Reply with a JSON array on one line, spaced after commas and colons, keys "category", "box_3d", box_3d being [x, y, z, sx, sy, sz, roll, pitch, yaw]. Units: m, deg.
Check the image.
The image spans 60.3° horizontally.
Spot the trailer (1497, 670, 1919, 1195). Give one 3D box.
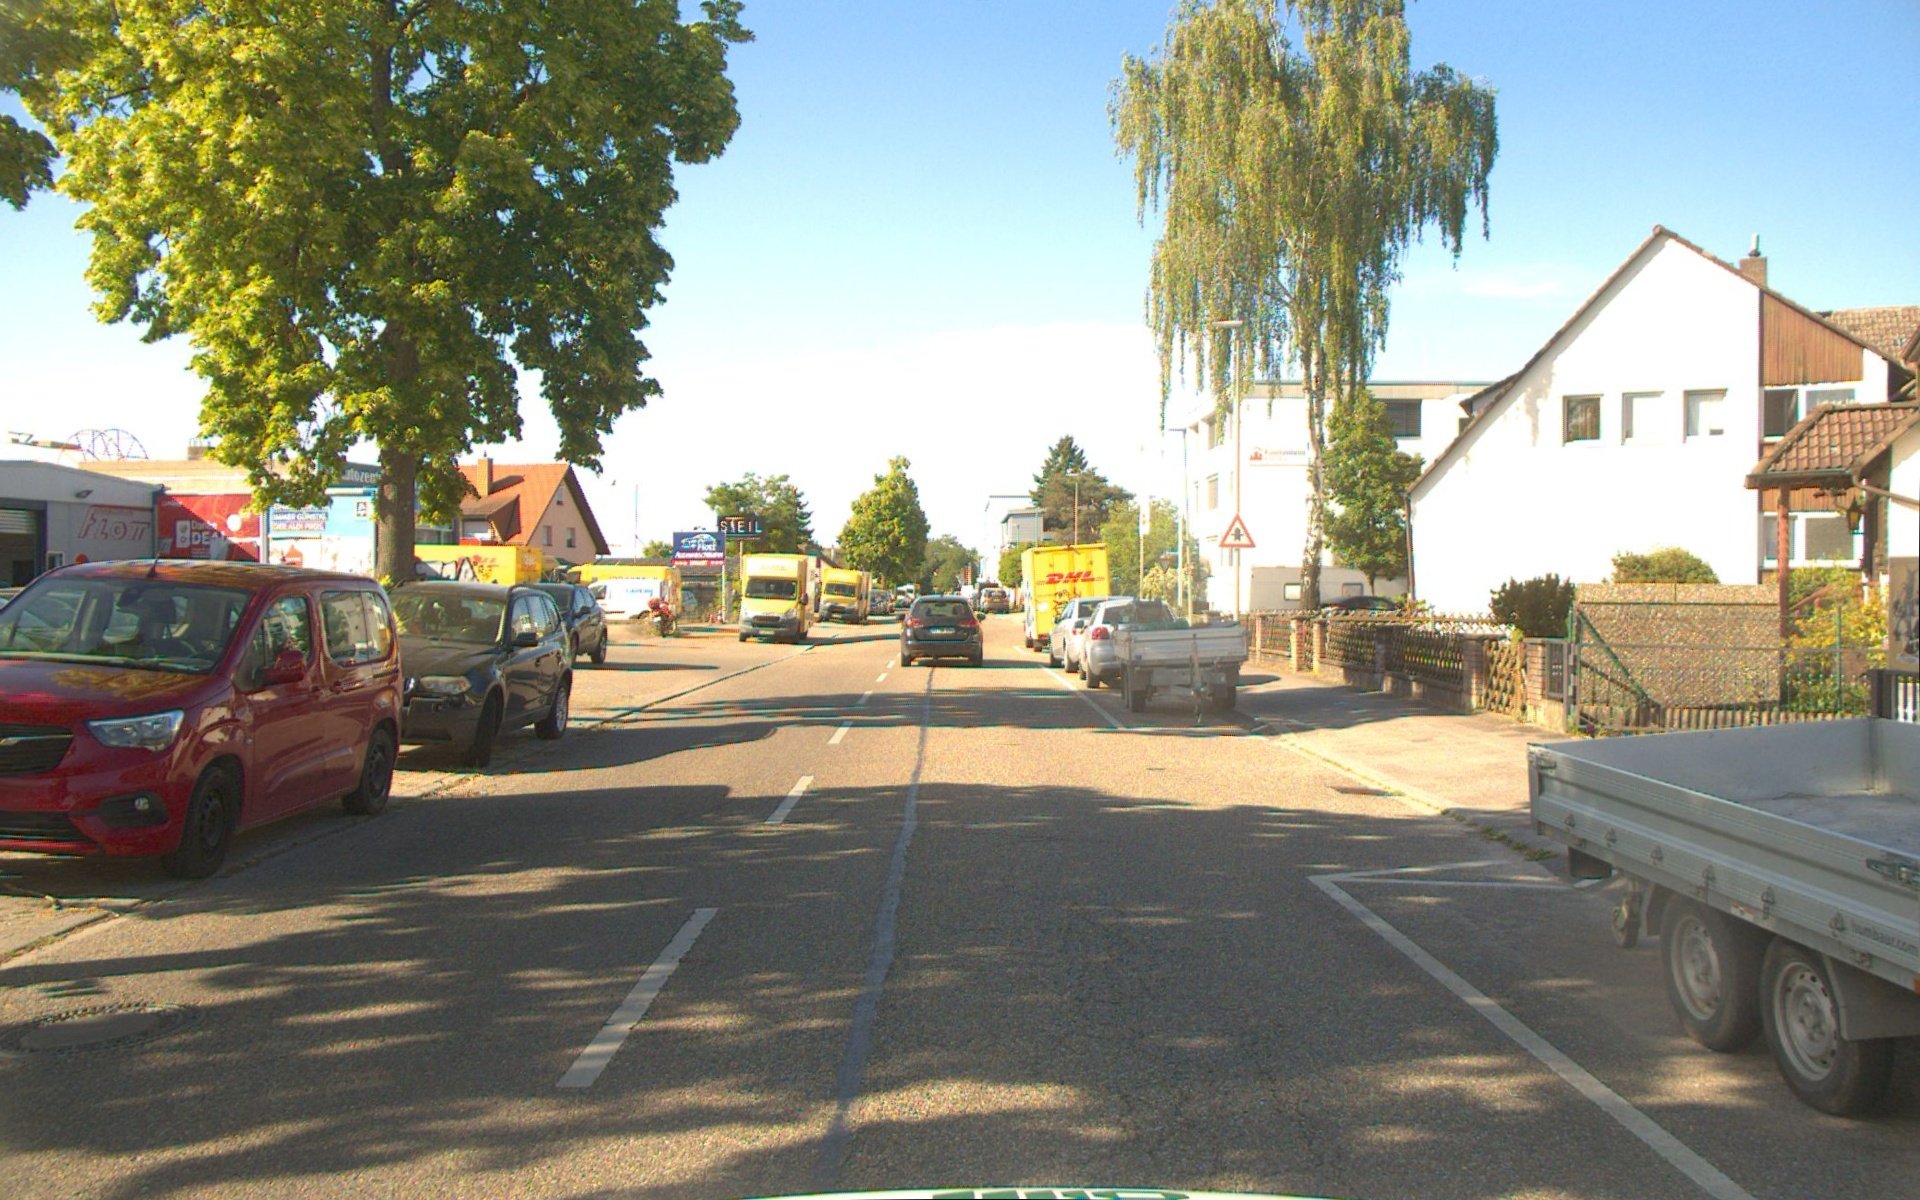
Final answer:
[{"category": "trailer", "box_3d": [3.248, 0.940, 5.771, 1.595, 1.238, 3.143, 0, 0, -3]}]

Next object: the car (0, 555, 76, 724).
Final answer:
[{"category": "car", "box_3d": [-12.065, 0.415, 17.795, 4.161, 1.759, 1.766, 0, 0, 1]}]

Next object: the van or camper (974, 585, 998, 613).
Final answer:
[{"category": "van or camper", "box_3d": [2.153, -0.081, 137.449, 1.953, 2.351, 4.000, 0, 0, 0]}]

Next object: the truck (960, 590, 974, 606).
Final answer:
[{"category": "truck", "box_3d": [1.004, -0.283, 231.555, 1.953, 2.327, 6.955, 0, 0, 0]}]

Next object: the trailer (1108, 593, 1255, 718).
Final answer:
[{"category": "trailer", "box_3d": [2.945, 0.689, 22.502, 1.594, 1.565, 3.198, 0, 0, 1]}]

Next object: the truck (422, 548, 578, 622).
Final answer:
[{"category": "truck", "box_3d": [-19.113, -0.618, 68.799, 5.961, 3.024, 2.175, 0, 0, 12]}]

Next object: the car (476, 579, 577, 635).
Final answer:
[{"category": "car", "box_3d": [-14.941, 0.207, 57.217, 1.825, 1.589, 4.218, 1, 4, 9]}]

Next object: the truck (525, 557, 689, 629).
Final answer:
[{"category": "truck", "box_3d": [-13.743, -0.292, 64.592, 5.795, 2.612, 2.226, 2, 0, 11]}]

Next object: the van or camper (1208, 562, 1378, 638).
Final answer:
[{"category": "van or camper", "box_3d": [11.794, -0.012, 58.598, 5.740, 2.586, 2.272, 0, 0, -26]}]

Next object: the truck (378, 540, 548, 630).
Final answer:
[{"category": "truck", "box_3d": [-18.797, -0.587, 62.693, 5.547, 3.174, 2.525, 2, 0, 11]}]

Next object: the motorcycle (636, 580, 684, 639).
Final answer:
[{"category": "motorcycle", "box_3d": [-10.155, 0.296, 56.097, 0.765, 1.905, 3.042, 3, 1, 4]}]

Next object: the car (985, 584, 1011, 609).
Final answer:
[{"category": "car", "box_3d": [2.937, -0.279, 126.965, 1.879, 1.857, 4.079, 0, 0, 0]}]

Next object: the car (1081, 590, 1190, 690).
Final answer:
[{"category": "car", "box_3d": [2.957, 0.628, 28.492, 1.639, 1.569, 4.045, 1, 0, 3]}]

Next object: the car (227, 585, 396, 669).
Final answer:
[{"category": "car", "box_3d": [-13.236, 0.577, 34.030, 1.823, 1.618, 4.275, 0, -2, -1]}]

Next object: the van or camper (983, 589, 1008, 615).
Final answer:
[{"category": "van or camper", "box_3d": [2.806, 0.139, 132.413, 1.879, 2.055, 4.079, 0, 0, 0]}]

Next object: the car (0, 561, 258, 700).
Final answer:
[{"category": "car", "box_3d": [-11.822, 0.389, 22.079, 4.159, 1.759, 1.767, 0, 0, 5]}]

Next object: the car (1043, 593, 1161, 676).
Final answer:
[{"category": "car", "box_3d": [2.833, 0.648, 33.945, 1.748, 1.569, 4.534, 0, 0, -4]}]

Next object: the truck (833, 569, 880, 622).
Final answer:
[{"category": "truck", "box_3d": [-6.036, -0.269, 97.244, 2.147, 2.952, 6.439, 2, 0, 1]}]

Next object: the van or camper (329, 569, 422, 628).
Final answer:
[{"category": "van or camper", "box_3d": [-20.848, -0.057, 59.134, 1.822, 2.049, 4.001, 0, 0, 1]}]

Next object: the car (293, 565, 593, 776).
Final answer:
[{"category": "car", "box_3d": [-5.085, 0.612, 16.938, 1.640, 1.802, 4.554, 2, 0, -1]}]

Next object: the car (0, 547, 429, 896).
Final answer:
[{"category": "car", "box_3d": [-5.064, 0.608, 10.755, 1.767, 1.783, 4.341, 2, 0, 0]}]

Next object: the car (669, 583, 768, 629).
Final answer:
[{"category": "car", "box_3d": [-11.061, 0.274, 75.852, 4.157, 2.049, 1.870, 0, 0, 8]}]

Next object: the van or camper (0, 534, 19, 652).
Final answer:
[{"category": "van or camper", "box_3d": [-24.062, -0.169, 36.568, 2.118, 2.763, 6.275, 0, 0, 10]}]

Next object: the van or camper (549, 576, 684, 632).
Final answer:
[{"category": "van or camper", "box_3d": [-12.788, 0.154, 61.728, 4.447, 2.049, 2.252, 0, 0, 6]}]

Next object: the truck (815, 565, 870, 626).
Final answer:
[{"category": "truck", "box_3d": [-6.201, -0.234, 87.988, 2.353, 3.035, 6.373, 2, 0, 0]}]

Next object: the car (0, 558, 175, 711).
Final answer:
[{"category": "car", "box_3d": [-12.004, 0.401, 20.069, 4.159, 1.759, 1.767, 0, 0, 5]}]

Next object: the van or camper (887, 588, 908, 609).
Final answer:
[{"category": "van or camper", "box_3d": [-7.441, -0.217, 196.681, 2.277, 2.403, 6.523, 0, 0, -4]}]

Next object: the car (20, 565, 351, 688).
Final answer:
[{"category": "car", "box_3d": [-11.542, 0.383, 24.782, 4.159, 1.759, 1.767, 0, 0, 5]}]

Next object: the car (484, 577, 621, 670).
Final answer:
[{"category": "car", "box_3d": [-8.478, 0.461, 34.773, 1.824, 1.744, 4.275, 3, 0, -1]}]

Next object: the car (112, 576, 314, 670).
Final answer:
[{"category": "car", "box_3d": [-15.432, 0.418, 34.421, 1.738, 1.778, 4.168, 0, 2, 11]}]

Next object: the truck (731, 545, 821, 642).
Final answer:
[{"category": "truck", "box_3d": [-6.175, -0.207, 56.430, 2.354, 3.035, 7.243, 2, 0, -2]}]

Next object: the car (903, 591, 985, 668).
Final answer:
[{"category": "car", "box_3d": [-0.306, 0.599, 35.695, 1.676, 1.559, 3.688, 0, 0, 1]}]

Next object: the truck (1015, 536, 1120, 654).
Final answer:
[{"category": "truck", "box_3d": [2.924, -0.135, 46.652, 2.354, 2.988, 7.015, -2, 0, -1]}]

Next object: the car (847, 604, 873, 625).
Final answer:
[{"category": "car", "box_3d": [-7.066, 1.015, 116.885, 1.721, 1.428, 4.555, 0, 0, -2]}]
